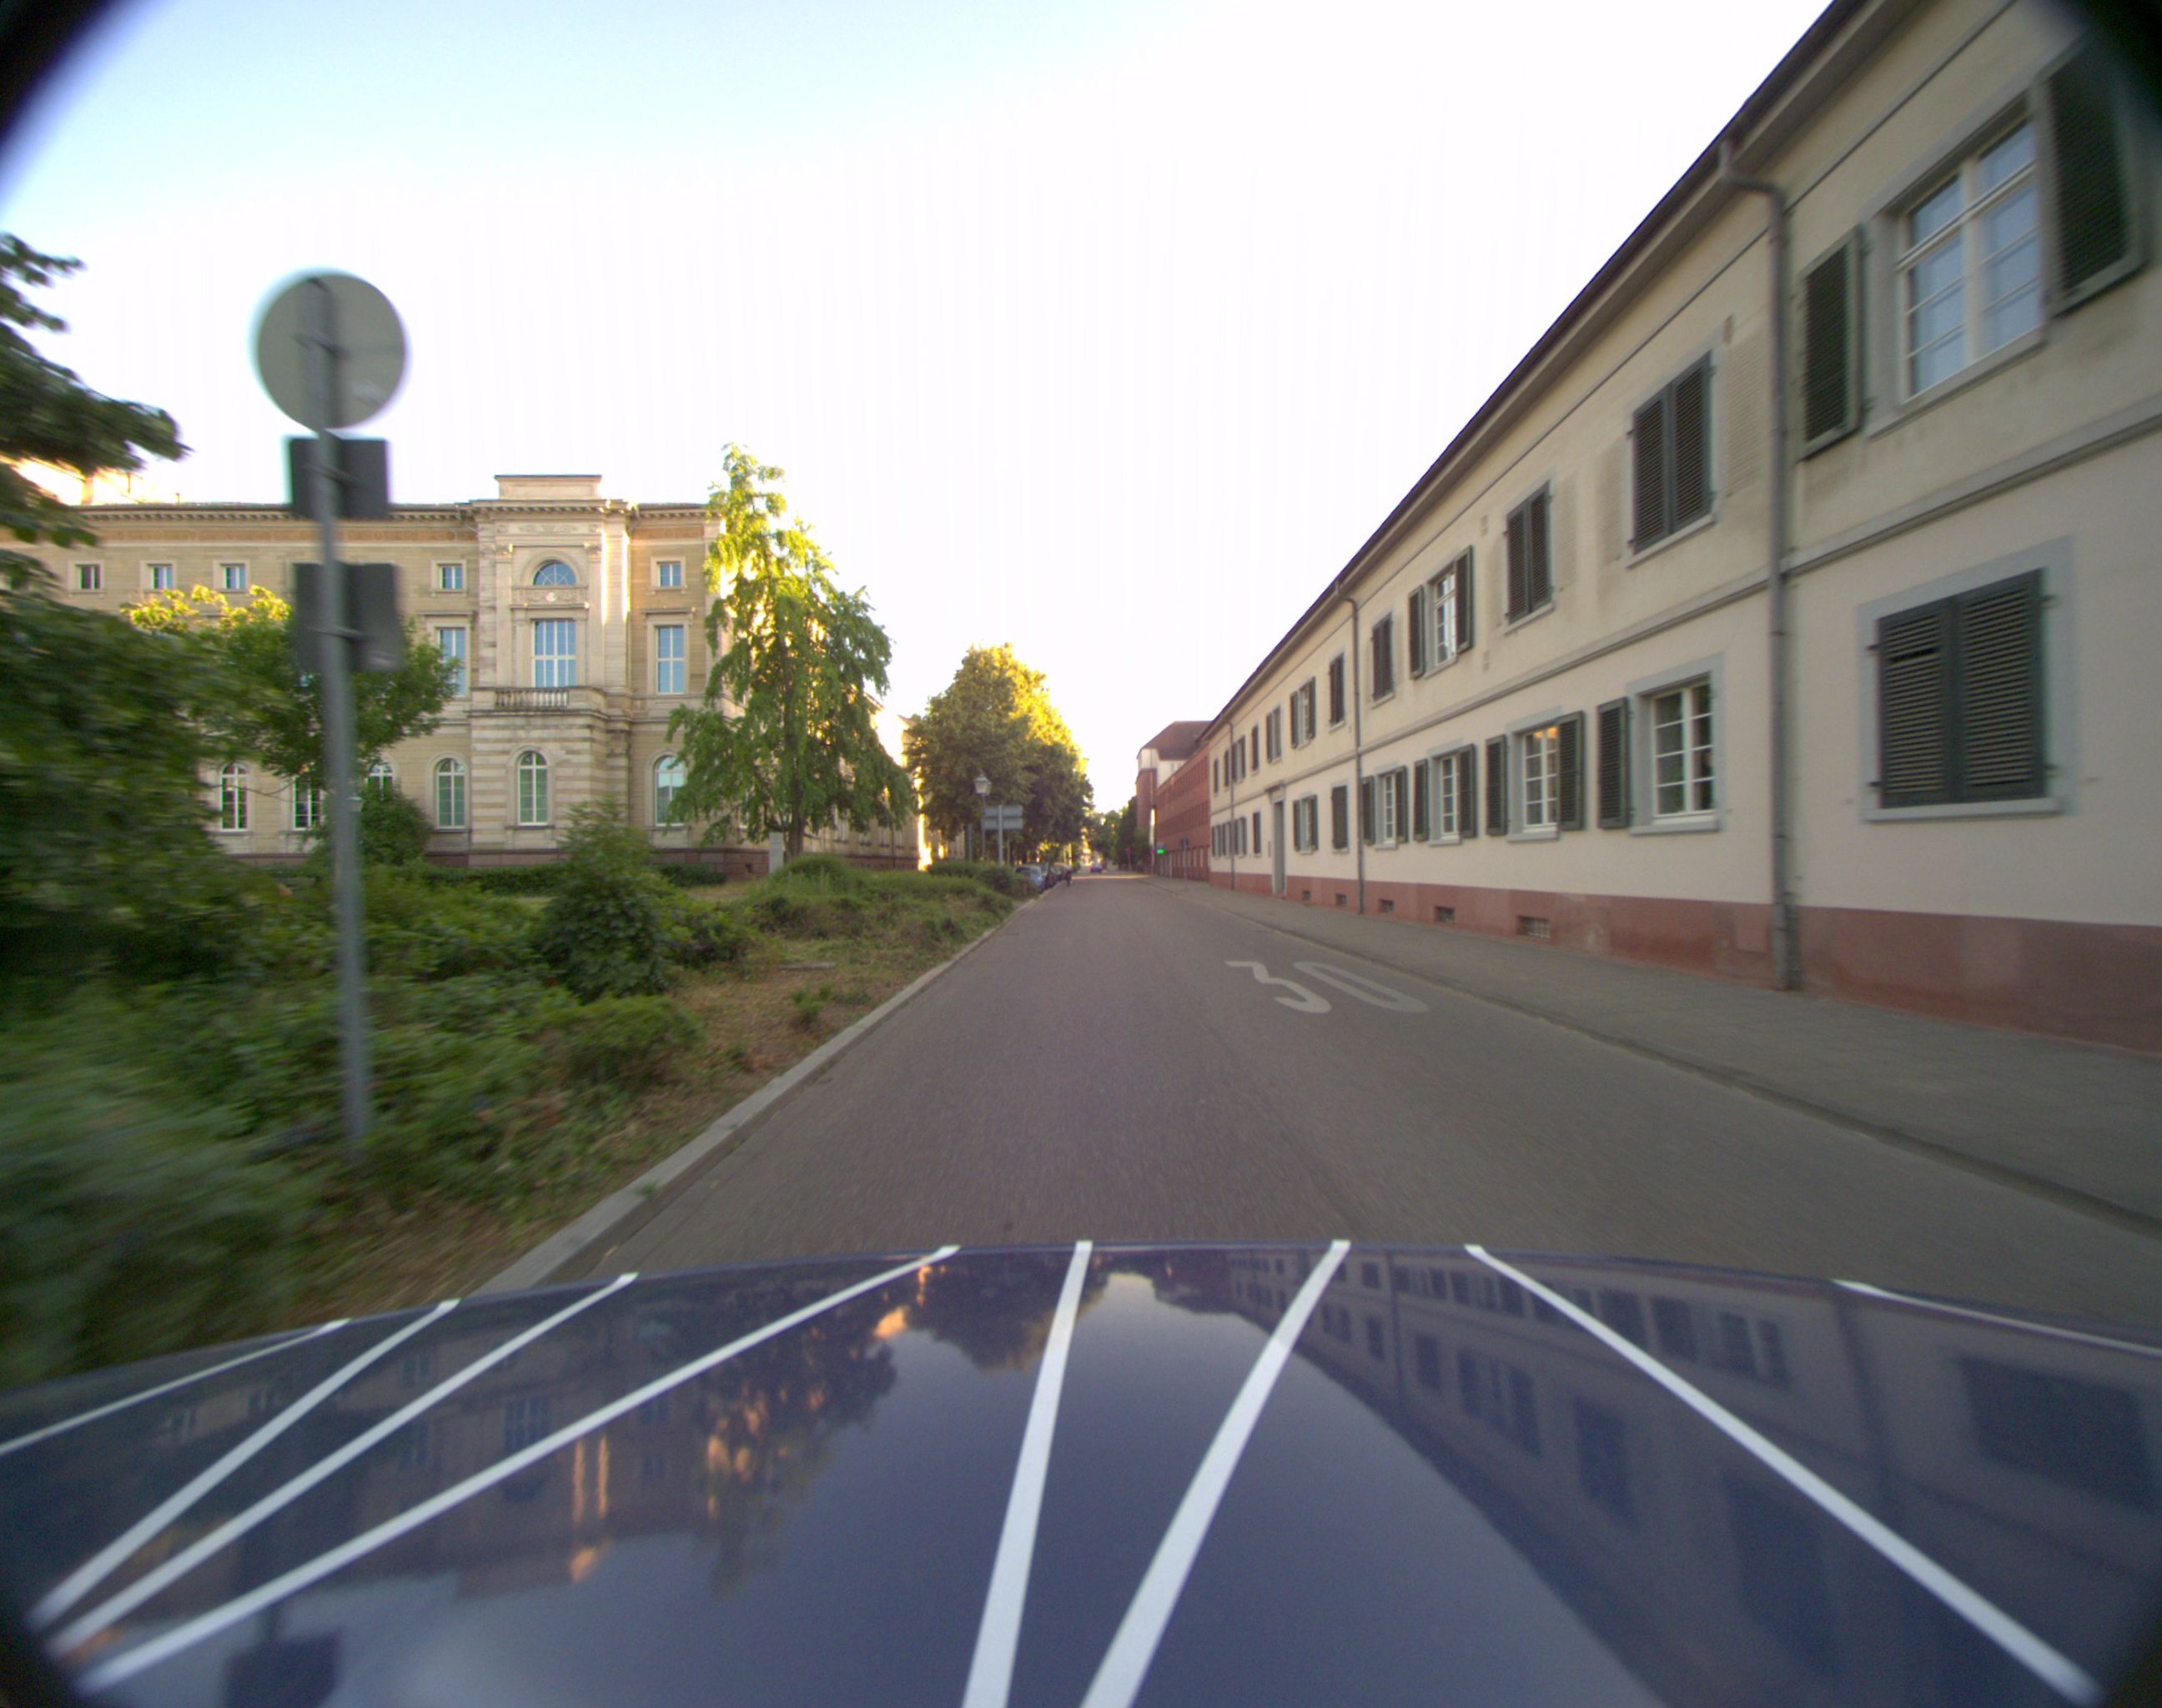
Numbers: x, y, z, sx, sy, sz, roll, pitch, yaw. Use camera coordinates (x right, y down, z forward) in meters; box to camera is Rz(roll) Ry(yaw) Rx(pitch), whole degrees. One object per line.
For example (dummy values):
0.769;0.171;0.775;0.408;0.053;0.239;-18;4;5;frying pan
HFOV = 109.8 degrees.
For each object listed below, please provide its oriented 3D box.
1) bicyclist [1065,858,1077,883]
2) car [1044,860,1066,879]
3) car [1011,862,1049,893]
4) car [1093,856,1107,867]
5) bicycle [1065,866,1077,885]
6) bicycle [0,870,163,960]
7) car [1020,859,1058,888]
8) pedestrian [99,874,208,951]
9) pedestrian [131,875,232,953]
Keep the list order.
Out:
-0.662;1.069;49.852;0.753;1.603;1.038;0;0;-2;bicyclist
-2.334;1.393;68.911;1.739;1.498;4.522;3;0;0;car
-2.679;1.207;40.748;1.728;1.479;4.610;3;0;-1;car
3.257;1.324;131.616;1.999;1.863;5.109;-1;-2;-3;car
-0.685;1.382;49.832;0.753;1.245;2.210;0;-1;-2;bicycle
-16.306;0.923;12.252;0.621;1.292;2.018;0;0;-4;bicycle
-2.511;1.160;46.496;1.728;1.642;4.714;0;0;4;car
-15.134;0.935;12.415;0.808;1.184;0.789;0;0;4;pedestrian
-14.367;0.939;12.158;0.724;1.184;0.747;0;0;4;pedestrian
